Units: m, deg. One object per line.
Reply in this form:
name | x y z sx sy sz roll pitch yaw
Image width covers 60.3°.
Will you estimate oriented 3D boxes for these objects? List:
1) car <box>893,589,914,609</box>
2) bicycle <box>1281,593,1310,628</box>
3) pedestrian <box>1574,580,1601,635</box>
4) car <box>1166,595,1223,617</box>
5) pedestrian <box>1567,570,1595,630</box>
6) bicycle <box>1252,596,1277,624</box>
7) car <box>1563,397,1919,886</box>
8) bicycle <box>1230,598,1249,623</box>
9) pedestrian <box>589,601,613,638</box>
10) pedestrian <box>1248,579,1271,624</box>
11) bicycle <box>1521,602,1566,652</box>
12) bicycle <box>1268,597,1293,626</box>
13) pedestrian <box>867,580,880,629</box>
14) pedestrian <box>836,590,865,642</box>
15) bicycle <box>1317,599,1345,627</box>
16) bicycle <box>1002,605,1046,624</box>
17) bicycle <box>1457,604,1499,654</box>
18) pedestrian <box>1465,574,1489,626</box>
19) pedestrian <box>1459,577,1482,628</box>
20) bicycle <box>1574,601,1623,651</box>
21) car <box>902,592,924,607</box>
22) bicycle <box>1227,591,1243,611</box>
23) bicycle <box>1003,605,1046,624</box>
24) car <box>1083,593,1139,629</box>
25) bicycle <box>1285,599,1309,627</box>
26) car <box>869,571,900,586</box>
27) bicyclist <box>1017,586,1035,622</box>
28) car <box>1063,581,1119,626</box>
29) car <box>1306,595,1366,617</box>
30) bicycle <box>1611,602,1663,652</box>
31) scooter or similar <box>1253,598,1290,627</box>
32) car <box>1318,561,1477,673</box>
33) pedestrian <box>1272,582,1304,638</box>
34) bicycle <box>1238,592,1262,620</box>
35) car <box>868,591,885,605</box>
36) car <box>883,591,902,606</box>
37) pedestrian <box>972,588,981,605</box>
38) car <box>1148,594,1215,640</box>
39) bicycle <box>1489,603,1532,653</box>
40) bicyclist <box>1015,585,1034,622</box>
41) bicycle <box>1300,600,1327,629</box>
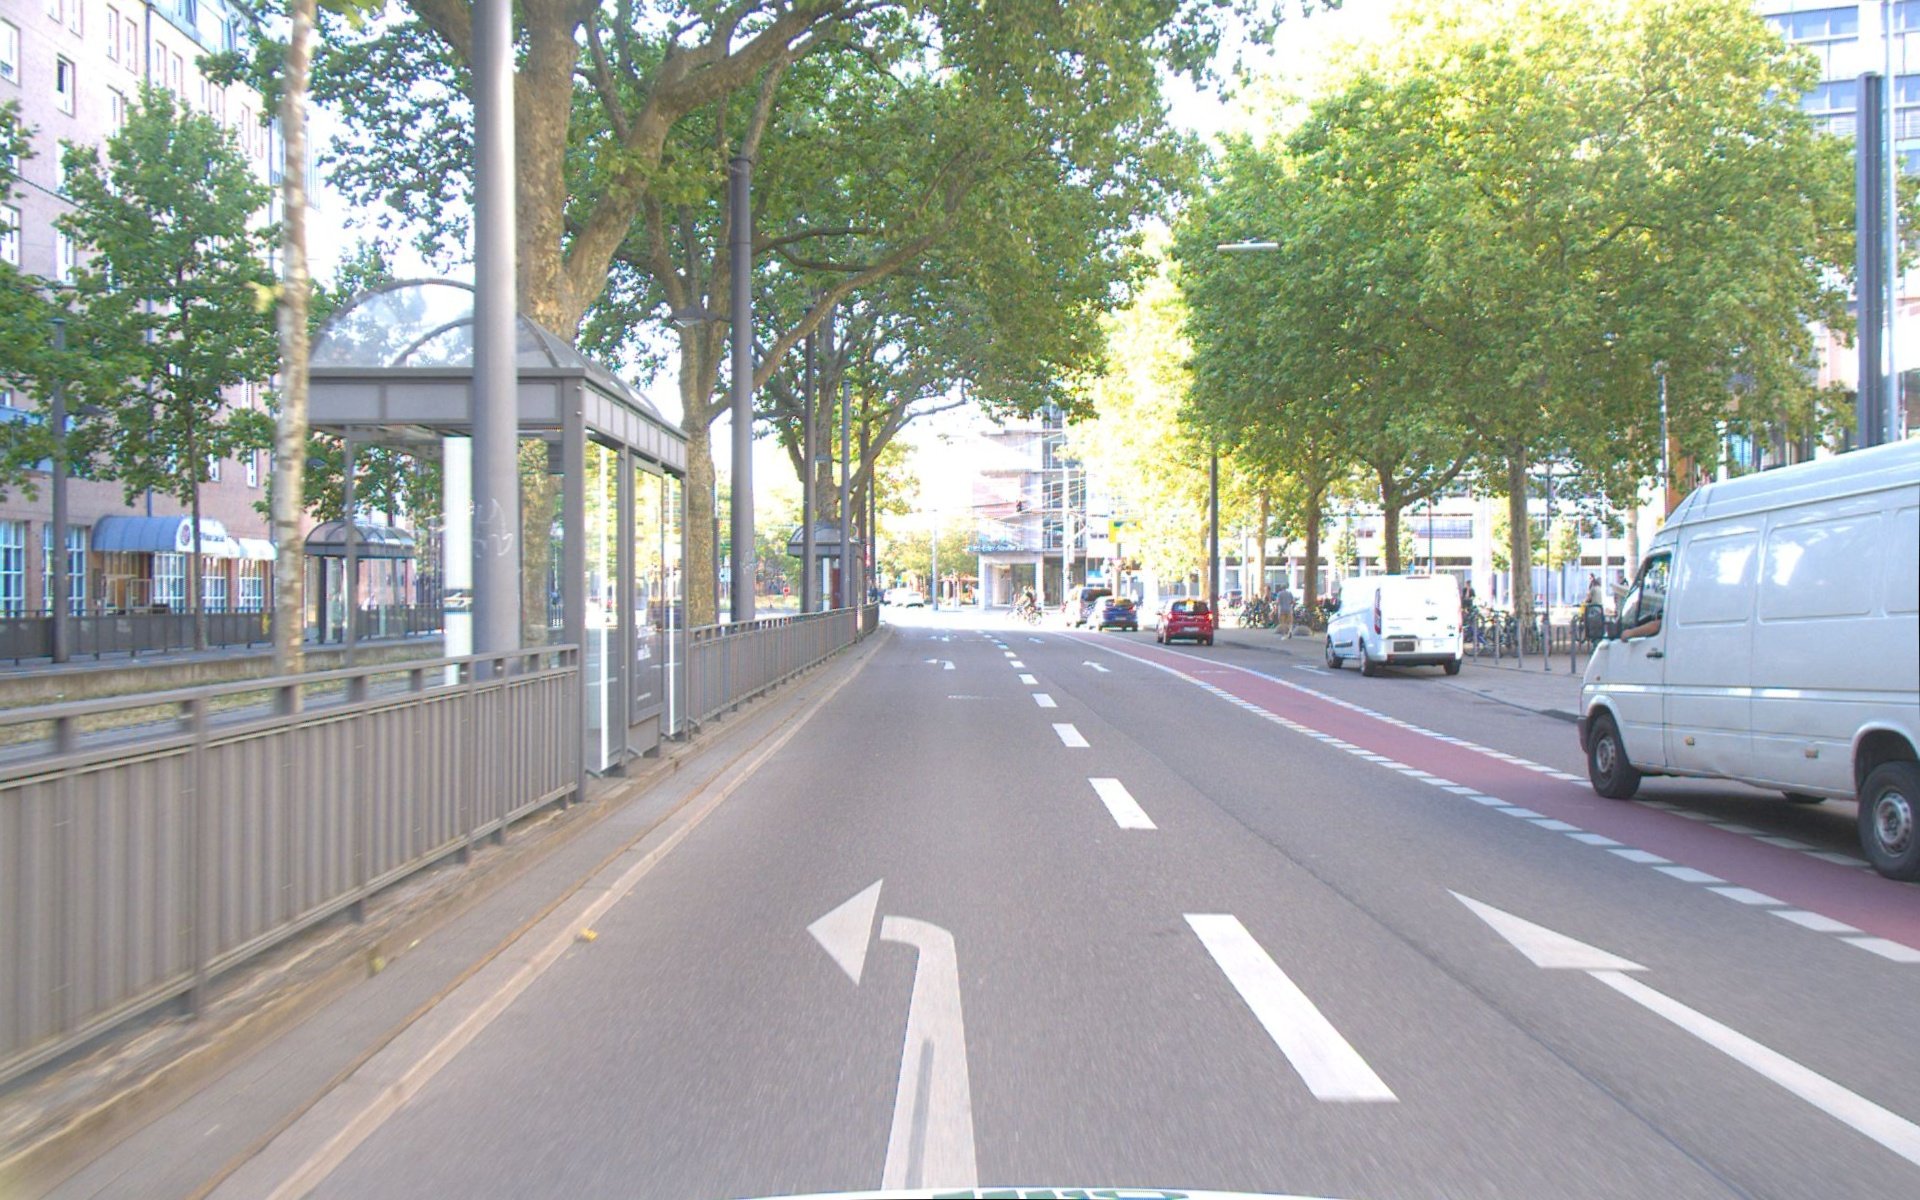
car | -5.708 -0.090 166.345 1.954 2.026 3.997 -1 0 -4
bicycle | 12.660 0.377 62.408 0.583 1.286 1.875 -1 0 -4
pedestrian | 20.246 0.242 53.343 0.629 1.785 0.563 0 0 -7
car | 17.795 0.430 125.549 4.151 1.630 1.796 -1 0 4
pedestrian | 19.682 -0.010 52.416 0.629 1.874 0.563 0 0 -7
bicycle | 12.447 0.399 67.609 0.583 1.135 1.948 -1 0 23
car | 6.362 0.242 11.178 1.953 2.772 6.559 1 0 -2
bicycle | 12.233 0.442 72.462 0.614 1.075 1.572 -1 0 2
pedestrian | -16.793 0.933 77.374 1.053 1.711 0.756 1 -1 -11
pedestrian | 12.293 0.053 67.827 0.789 1.817 0.657 -1 0 23
bicycle | 14.094 0.640 39.978 0.648 1.157 2.403 0 0 10
bicycle | 13.050 0.471 67.291 0.583 1.135 1.825 -1 0 23
pedestrian | -3.432 0.185 65.692 0.499 1.933 0.759 1 -1 -3
pedestrian | -3.051 0.443 46.264 0.719 1.412 0.640 1 -1 1
bicycle | 14.023 0.480 62.580 0.583 1.050 1.654 -1 0 -4
bicycle | 3.199 0.728 82.928 2.135 0.950 0.667 0 0 -6
bicycle | 12.566 0.682 40.172 0.648 1.157 2.403 0 0 10
pedestrian | 19.249 -0.012 61.584 0.623 1.921 0.720 0 0 -1
pedestrian | 19.240 0.085 62.359 0.623 1.921 0.720 0 0 -1
bicycle | 15.316 0.615 39.740 0.648 1.157 2.403 0 0 10
car | -4.588 -0.052 159.597 1.954 1.355 3.997 -1 0 -4
bicycle | 14.001 0.056 84.259 0.441 1.000 1.475 -1 0 -5
bicycle | 3.321 0.742 84.686 2.135 0.950 0.667 0 0 -6
car | 6.576 0.451 72.290 1.730 1.490 4.213 -1 0 -5
bicycle | 13.659 0.519 67.051 0.594 1.135 1.825 -1 0 23
car | -9.975 -2.828 218.168 3.681 1.780 1.783 1 -1 11
bicyclist | 3.387 0.198 84.687 0.833 1.798 0.752 -1 0 -5
car | 6.207 0.149 78.995 1.954 2.000 5.134 1 0 -4
car | 28.388 0.469 124.883 4.152 1.587 1.796 -1 0 2
bicycle | 16.198 0.634 39.614 0.648 1.157 2.403 0 0 10
scooter or similar | 13.049 0.538 69.319 1.233 1.162 0.912 3 -2 -17
car | 9.131 0.328 35.005 2.079 2.171 5.291 -1 0 2
pedestrian | 10.736 0.325 54.202 0.854 1.817 0.808 -1 0 -3
bicycle | 11.969 0.239 68.238 0.583 1.135 1.825 -1 0 23
car | -10.240 -0.297 203.090 1.954 1.691 3.997 -1 0 -4
car | -7.402 -0.167 181.706 1.954 1.691 3.997 -1 0 -4
pedestrian | 1.491 -0.295 150.170 0.725 1.491 0.536 -1 0 -6
car | 7.348 0.546 55.131 1.528 1.490 3.618 1 0 -4
bicycle | 13.322 0.661 40.063 0.648 1.157 2.403 0 0 10
bicyclist | 3.243 0.184 82.927 0.833 1.816 0.752 -1 0 -5
bicycle | 13.354 0.537 62.535 0.583 1.050 1.654 -1 0 -4
